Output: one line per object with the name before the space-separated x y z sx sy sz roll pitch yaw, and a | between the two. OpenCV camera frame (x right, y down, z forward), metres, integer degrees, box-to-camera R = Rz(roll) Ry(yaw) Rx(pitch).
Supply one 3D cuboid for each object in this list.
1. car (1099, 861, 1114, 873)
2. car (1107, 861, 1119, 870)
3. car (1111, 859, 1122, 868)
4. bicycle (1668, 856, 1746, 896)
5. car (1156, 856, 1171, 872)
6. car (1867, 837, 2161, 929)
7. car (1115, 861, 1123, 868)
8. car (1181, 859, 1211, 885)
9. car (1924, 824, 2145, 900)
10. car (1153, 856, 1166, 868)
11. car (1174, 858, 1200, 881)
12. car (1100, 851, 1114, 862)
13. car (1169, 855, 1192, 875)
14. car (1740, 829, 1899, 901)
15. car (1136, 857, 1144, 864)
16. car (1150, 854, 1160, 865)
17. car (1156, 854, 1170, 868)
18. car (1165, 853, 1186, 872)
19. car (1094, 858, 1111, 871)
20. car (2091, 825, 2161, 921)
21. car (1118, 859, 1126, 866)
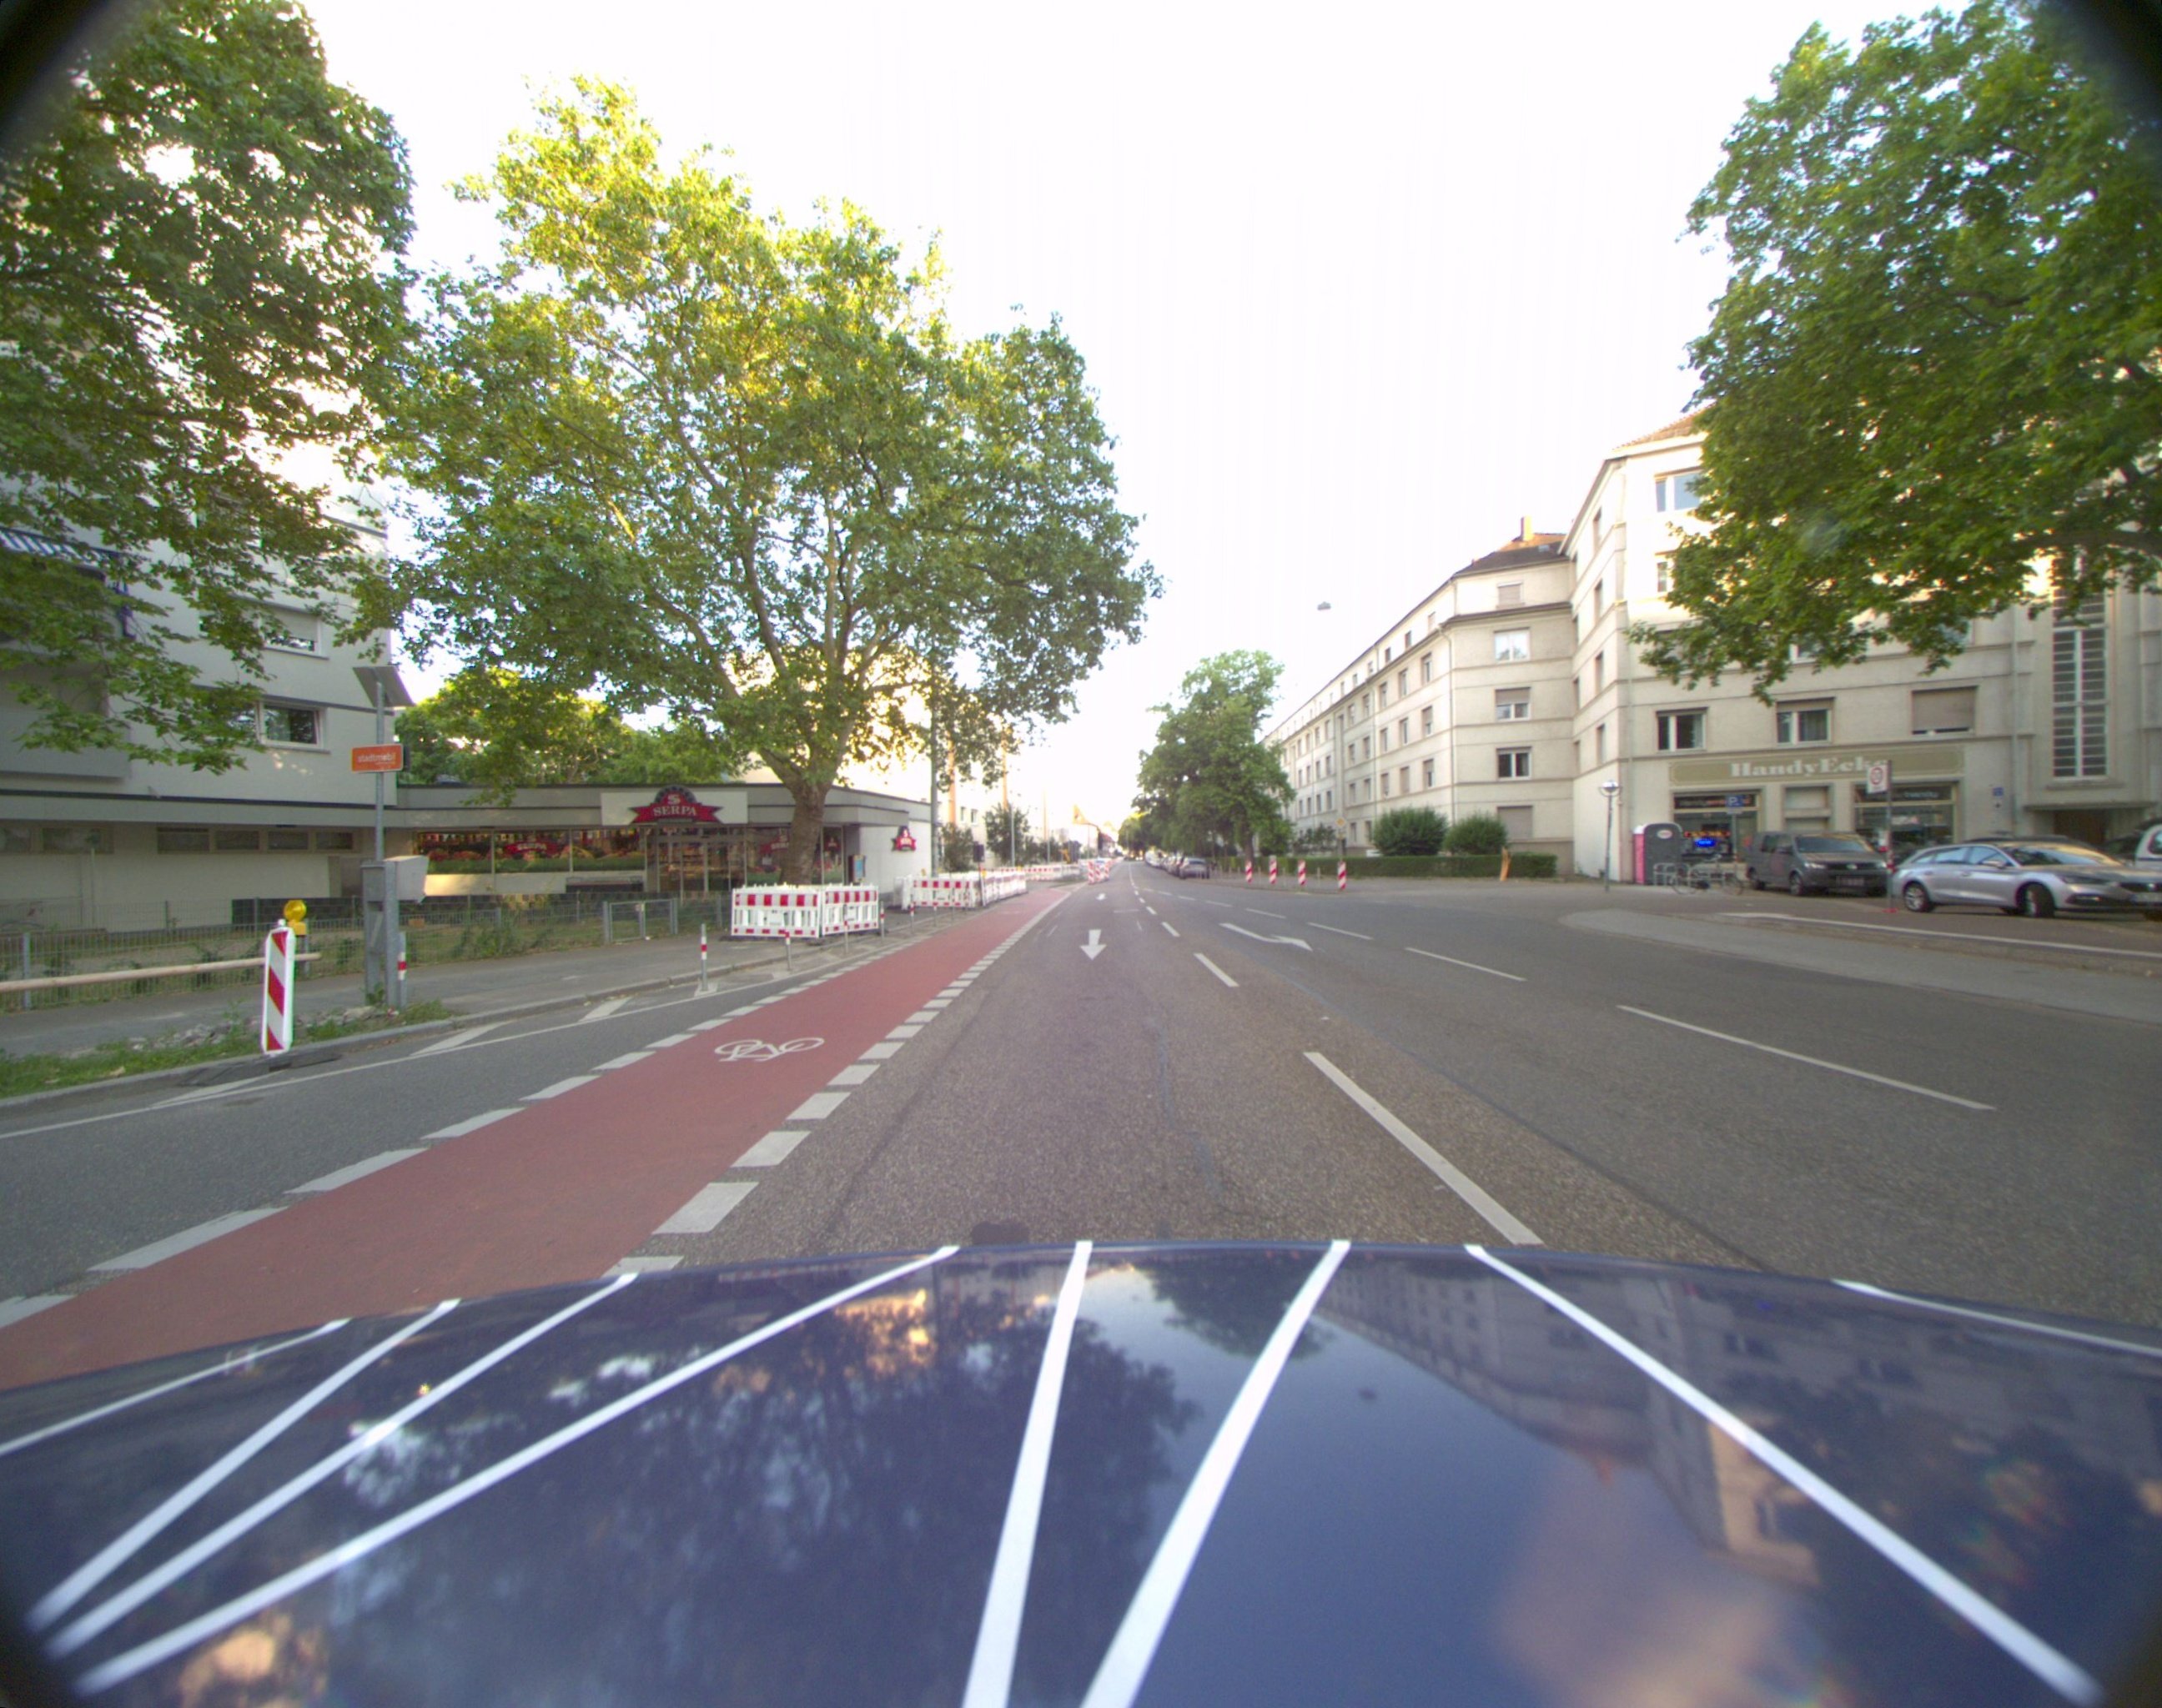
car | 3.758 1.932 113.342 1.892 1.726 4.260 -2 1 6
car | 5.982 2.108 141.406 1.892 1.591 4.260 -2 1 6
car | 7.266 1.985 156.258 1.892 1.591 4.260 -2 1 6
bicycle | 19.412 0.684 23.618 1.802 1.199 0.648 -2 1 33
car | 10.745 1.282 99.250 1.892 1.815 4.260 -2 1 6
car | 18.139 0.523 14.678 1.996 1.494 4.647 0 -1 15
car | 9.923 2.653 196.527 1.892 1.591 4.260 -2 1 6
car | 8.119 1.255 53.969 1.892 1.591 4.001 -2 1 6
car | 27.129 0.129 21.921 1.995 1.945 4.647 0 2 24
car | 12.174 1.244 117.888 1.892 1.591 4.260 -2 1 6
car | 8.646 1.247 62.187 1.892 1.681 4.260 -2 1 6
car | 4.242 0.431 121.858 1.892 1.651 4.260 -2 1 6
car | 9.041 0.996 69.476 1.892 1.591 4.260 -2 1 6
car | 22.624 0.238 23.561 1.995 1.945 4.647 0 2 24
car | 18.645 2.005 239.002 1.999 1.838 3.998 -2 1 -3
car | 13.939 0.978 143.477 1.892 1.868 4.947 -2 1 6
car | 11.600 1.014 108.217 1.892 1.855 4.260 -2 1 6
car | 9.316 0.824 75.424 1.892 1.764 4.260 -2 1 6
car | 2.932 1.394 101.051 1.892 1.591 4.260 -2 1 6
car | 20.724 0.338 12.997 1.995 1.771 4.649 0 -1 21
car | 10.997 2.360 205.709 1.892 1.591 4.260 -2 1 6
